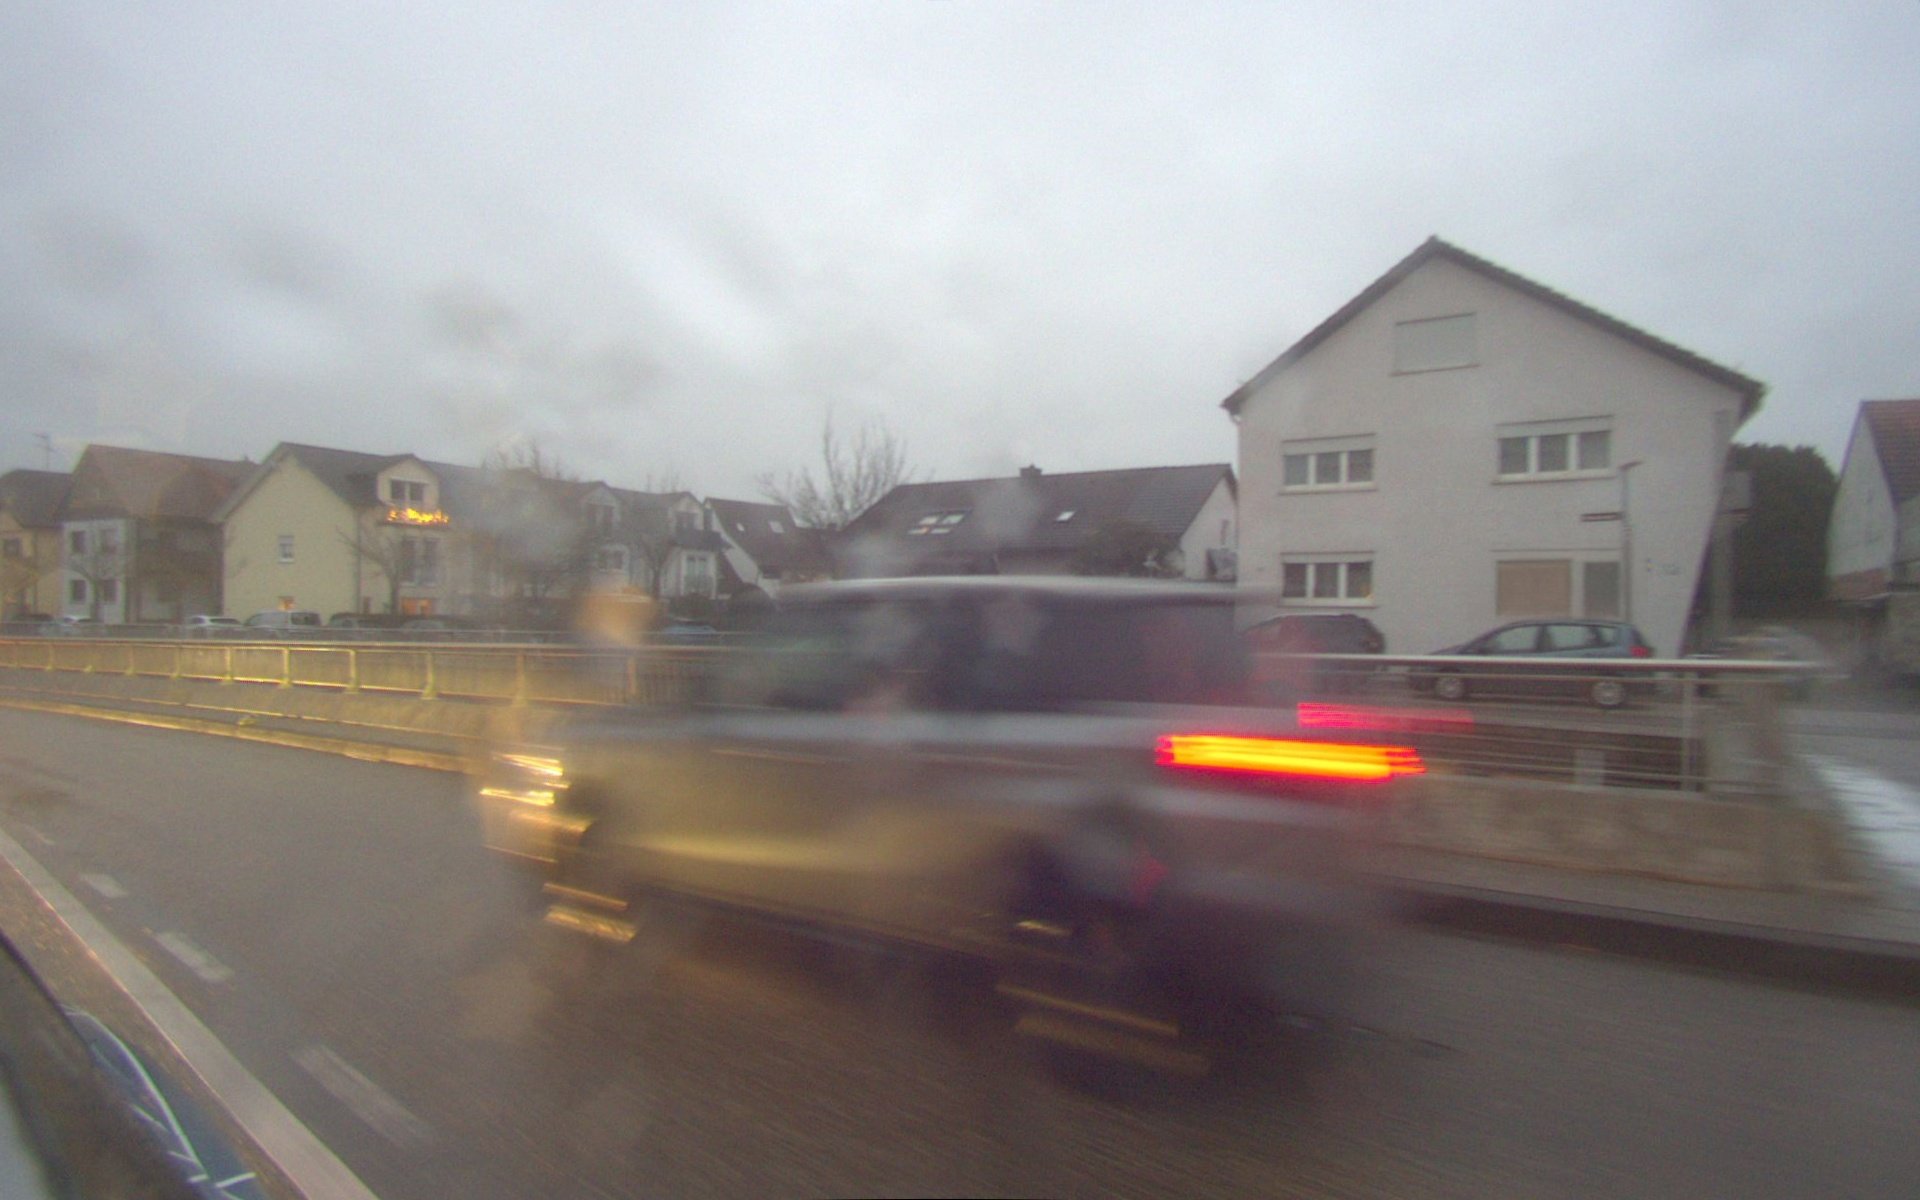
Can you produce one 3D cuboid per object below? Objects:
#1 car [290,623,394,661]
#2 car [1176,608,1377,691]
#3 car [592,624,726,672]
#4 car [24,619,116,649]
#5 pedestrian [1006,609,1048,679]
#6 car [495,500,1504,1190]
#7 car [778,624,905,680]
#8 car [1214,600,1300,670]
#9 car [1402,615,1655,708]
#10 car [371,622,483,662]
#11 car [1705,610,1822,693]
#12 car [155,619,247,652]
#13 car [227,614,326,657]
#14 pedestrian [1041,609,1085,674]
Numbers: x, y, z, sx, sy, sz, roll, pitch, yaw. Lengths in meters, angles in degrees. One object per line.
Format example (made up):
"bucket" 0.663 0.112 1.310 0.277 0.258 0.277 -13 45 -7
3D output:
"car" -25.704 1.714 42.102 4.237 1.480 1.783 -1 -1 28
"car" 6.952 1.025 22.334 3.946 1.673 1.686 -1 0 32
"car" -9.960 1.551 33.480 4.237 1.480 1.783 -1 -1 28
"car" -45.867 1.732 52.148 4.587 1.480 1.786 -1 -1 24
"pedestrian" 1.283 0.838 19.371 0.602 1.312 0.505 -2 -1 37
"car" -0.055 0.624 4.286 3.949 1.634 1.763 -2 -1 36
"car" -3.428 1.463 29.143 3.490 1.520 1.463 -1 -1 31
"car" 8.939 1.109 30.321 1.467 1.952 3.663 -2 -5 33
"car" 10.864 1.104 19.464 4.084 1.581 1.759 -1 0 35
"car" -20.872 1.606 39.609 4.237 1.480 1.783 -1 -1 28
"car" 18.394 1.191 23.324 1.713 1.695 3.955 1 -3 33
"car" -35.168 1.662 46.887 3.992 1.480 1.663 -1 -3 24
"car" -29.979 1.535 44.354 4.236 1.841 1.783 -1 -1 27
"pedestrian" 2.043 0.819 20.089 0.602 1.259 0.684 -2 -1 36
